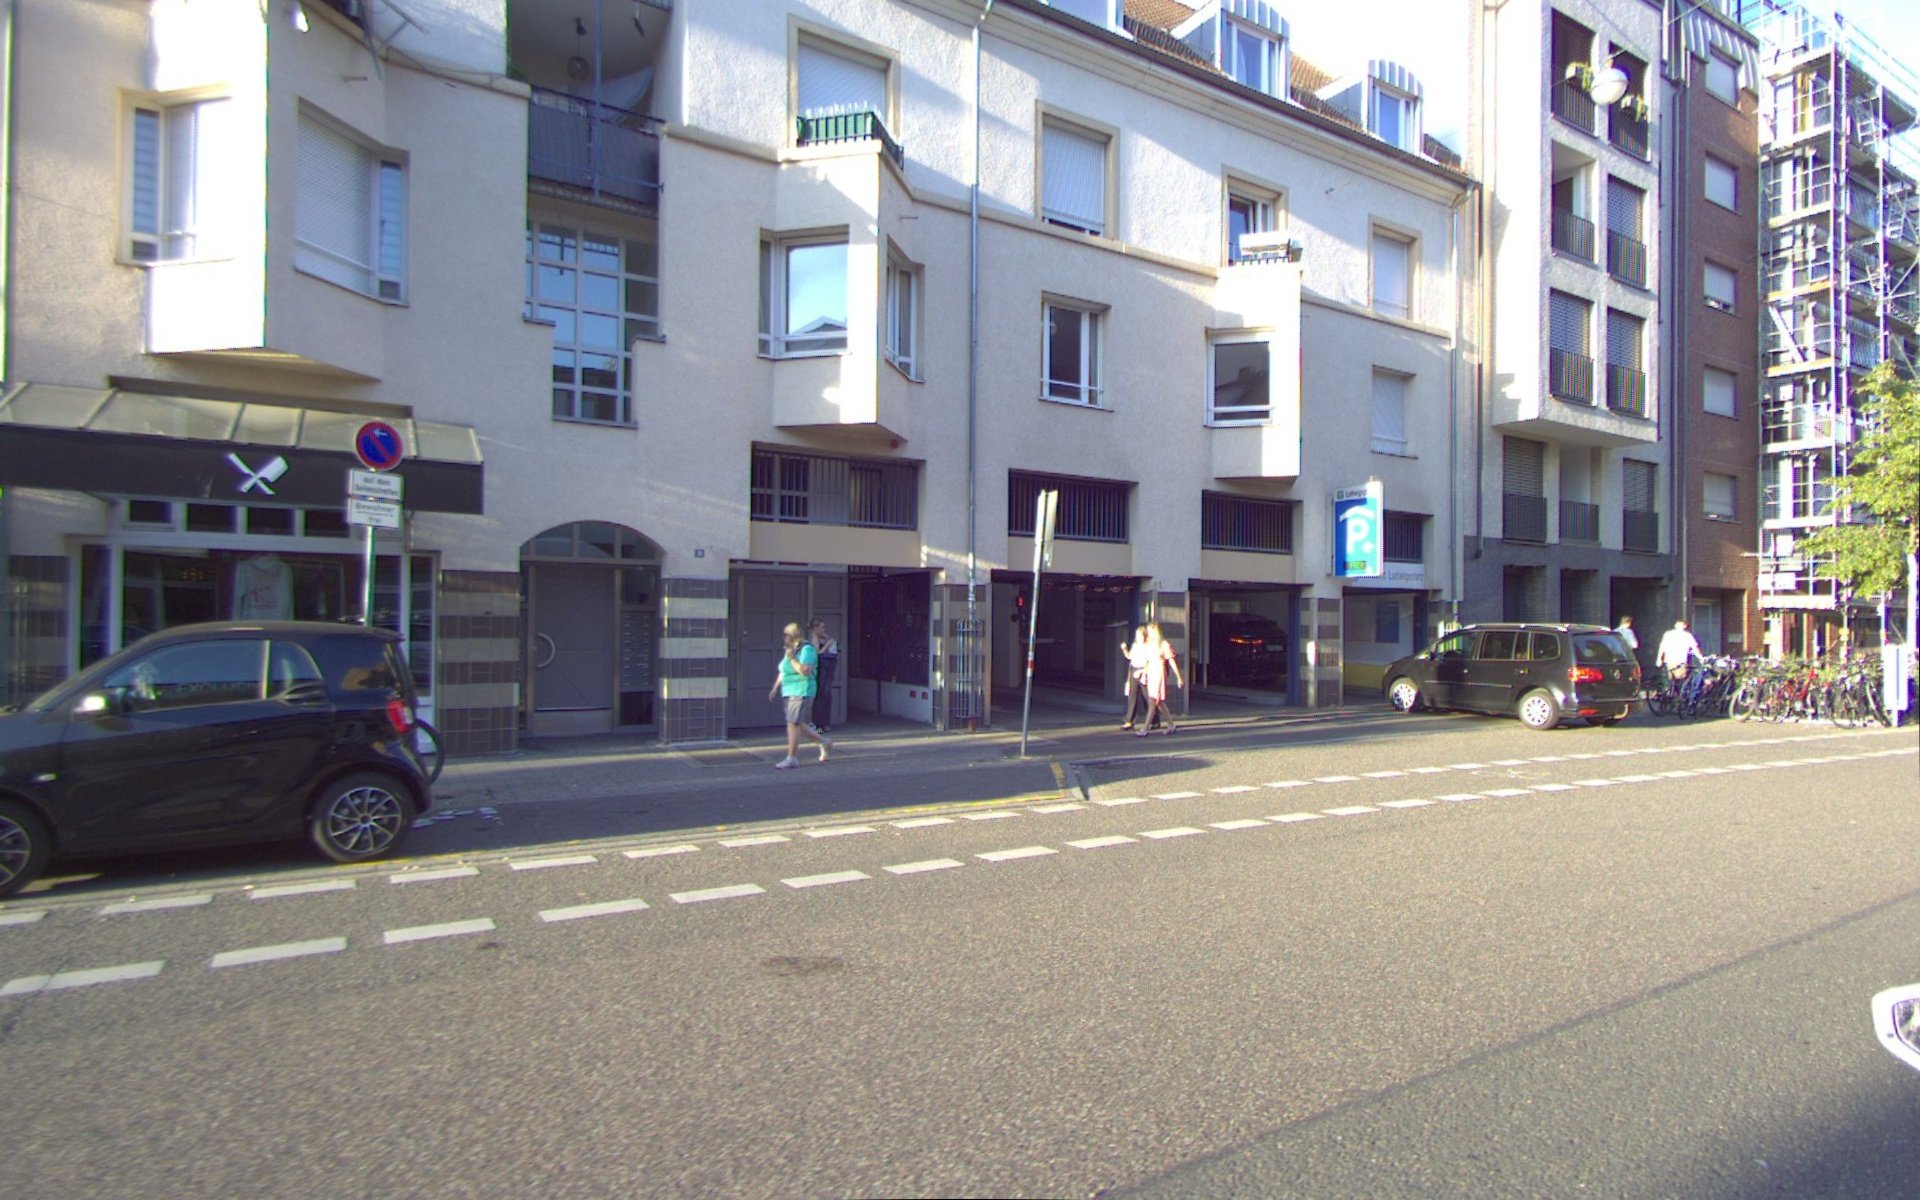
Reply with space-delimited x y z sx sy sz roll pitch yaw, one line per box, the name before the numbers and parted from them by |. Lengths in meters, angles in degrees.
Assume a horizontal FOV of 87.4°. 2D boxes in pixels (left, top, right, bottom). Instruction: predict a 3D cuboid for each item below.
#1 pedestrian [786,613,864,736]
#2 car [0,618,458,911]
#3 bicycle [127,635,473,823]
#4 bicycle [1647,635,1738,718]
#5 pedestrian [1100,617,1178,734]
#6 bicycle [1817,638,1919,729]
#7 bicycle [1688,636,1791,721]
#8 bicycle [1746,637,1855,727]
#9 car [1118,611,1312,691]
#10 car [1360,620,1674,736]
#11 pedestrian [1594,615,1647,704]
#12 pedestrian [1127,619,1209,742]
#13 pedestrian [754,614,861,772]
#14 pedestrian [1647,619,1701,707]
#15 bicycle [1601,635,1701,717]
pedestrian | -1.886 1.013 14.003 0.844 1.637 0.714 2 0 -28
car | -5.106 0.907 6.479 3.156 1.555 1.781 1 -1 -34
bicycle | -5.439 1.019 8.468 2.332 1.393 0.607 2 0 -32
bicycle | 13.577 1.369 18.557 3.135 1.414 0.580 2 0 -40
pedestrian | 2.644 1.102 14.892 0.844 1.663 0.714 2 0 -26
bicycle | 15.111 1.325 16.658 3.160 1.368 0.837 2 -2 -40
bicycle | 14.020 1.362 18.020 3.116 1.391 0.774 2 0 -40
bicycle | 14.556 1.357 17.357 3.140 1.414 0.885 2 -1 -40
car | 5.907 1.134 23.826 1.975 1.623 4.477 2 0 -27
car | 9.423 1.229 17.456 1.973 1.623 4.482 2 0 -25
pedestrian | 13.769 1.225 20.953 0.688 1.790 0.711 2 0 -38
pedestrian | 2.933 1.119 14.206 0.844 1.663 0.714 2 0 -26
pedestrian | -1.709 1.005 11.226 0.941 1.663 0.712 2 0 -33
pedestrian | 14.768 1.283 20.773 0.732 1.763 0.711 2 0 -38
bicycle | 13.154 1.402 19.081 3.127 1.414 0.715 2 0 -40
